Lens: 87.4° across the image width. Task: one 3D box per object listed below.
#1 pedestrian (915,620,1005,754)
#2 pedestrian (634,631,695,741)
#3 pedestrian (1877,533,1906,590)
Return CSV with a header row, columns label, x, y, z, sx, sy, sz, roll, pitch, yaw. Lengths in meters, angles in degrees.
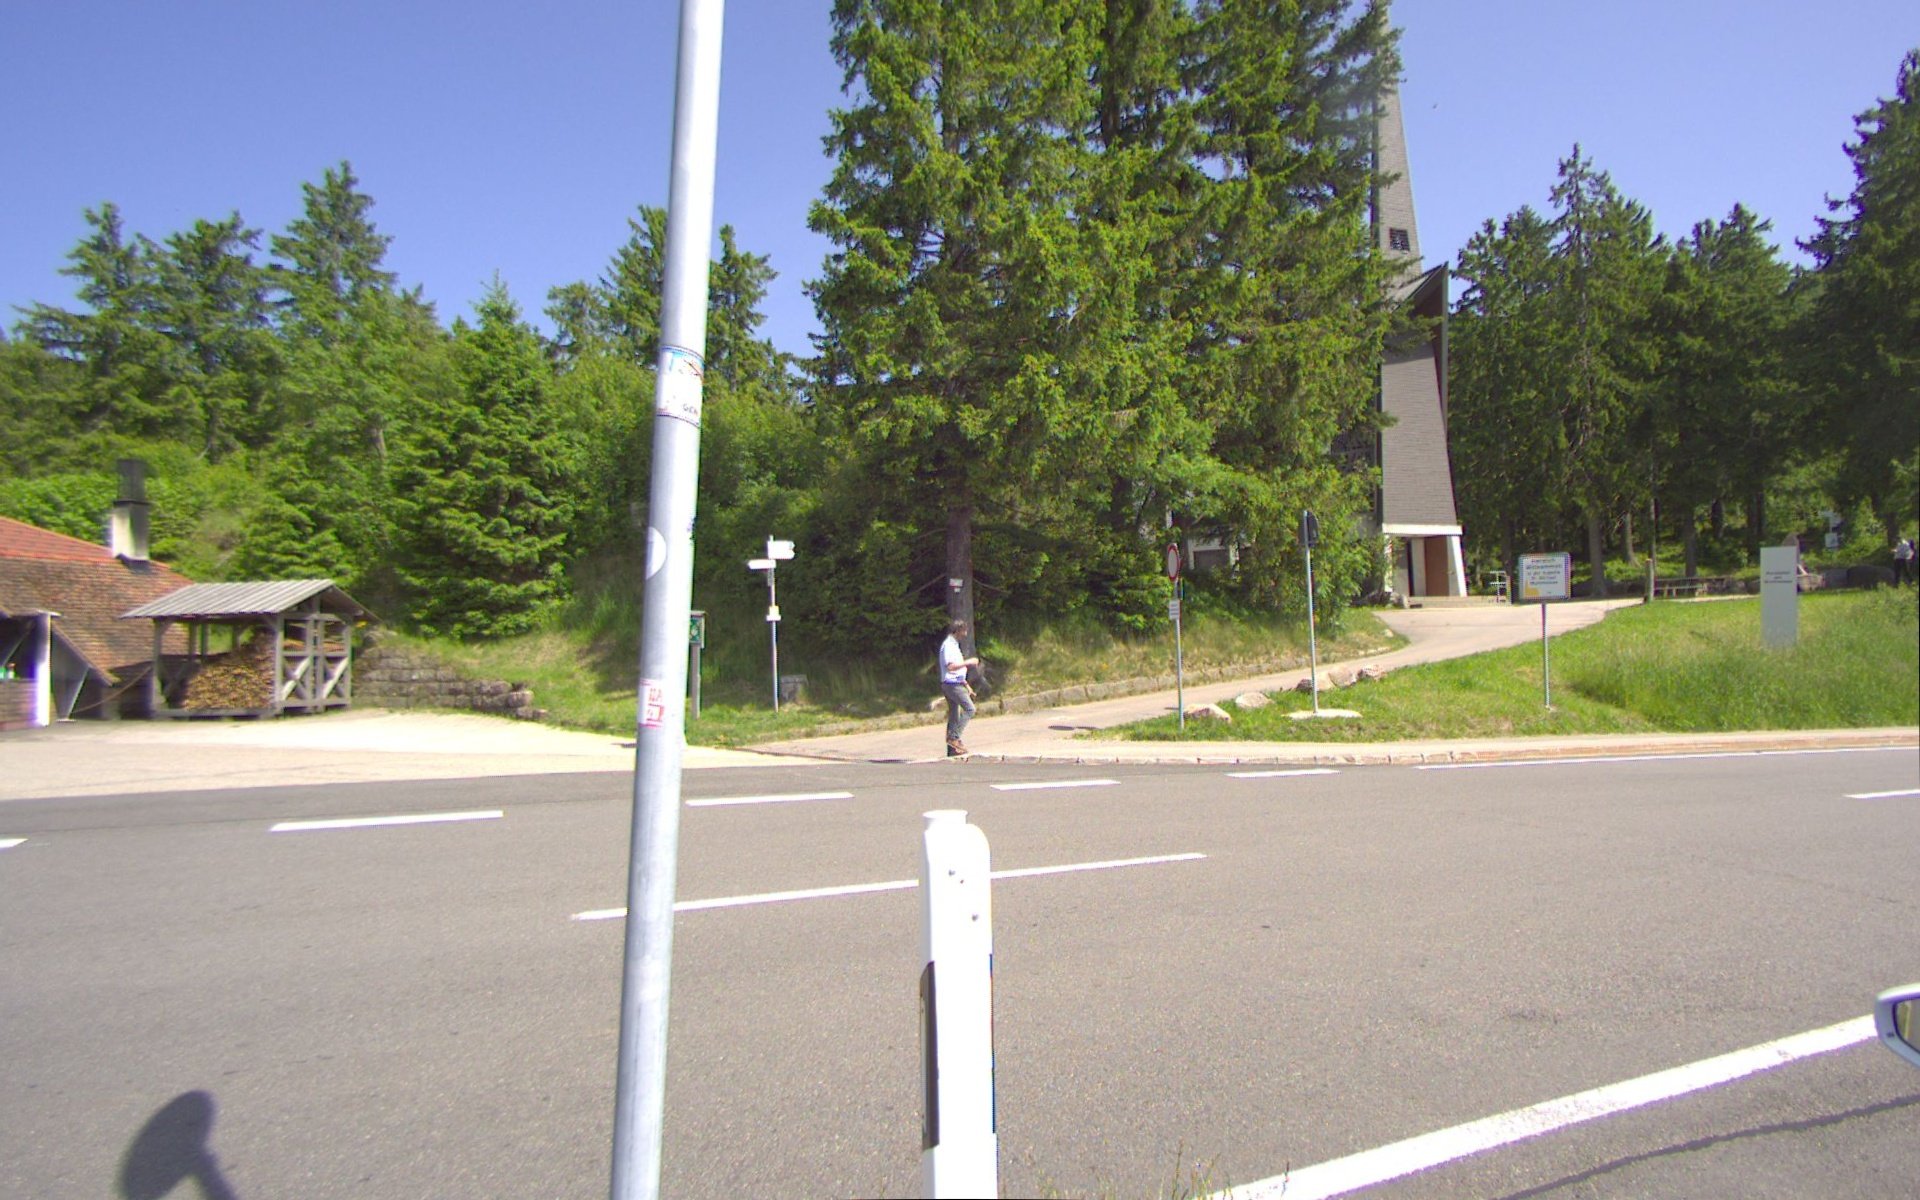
label,x,y,z,sx,sy,sz,roll,pitch,yaw
pedestrian,0.019,1.145,13.456,1.139,1.720,0.980,0,-3,4
pedestrian,-4.695,1.350,15.987,0.669,1.703,0.722,0,-3,7
pedestrian,32.322,-1.325,34.852,0.538,1.902,0.674,3,-4,-44
